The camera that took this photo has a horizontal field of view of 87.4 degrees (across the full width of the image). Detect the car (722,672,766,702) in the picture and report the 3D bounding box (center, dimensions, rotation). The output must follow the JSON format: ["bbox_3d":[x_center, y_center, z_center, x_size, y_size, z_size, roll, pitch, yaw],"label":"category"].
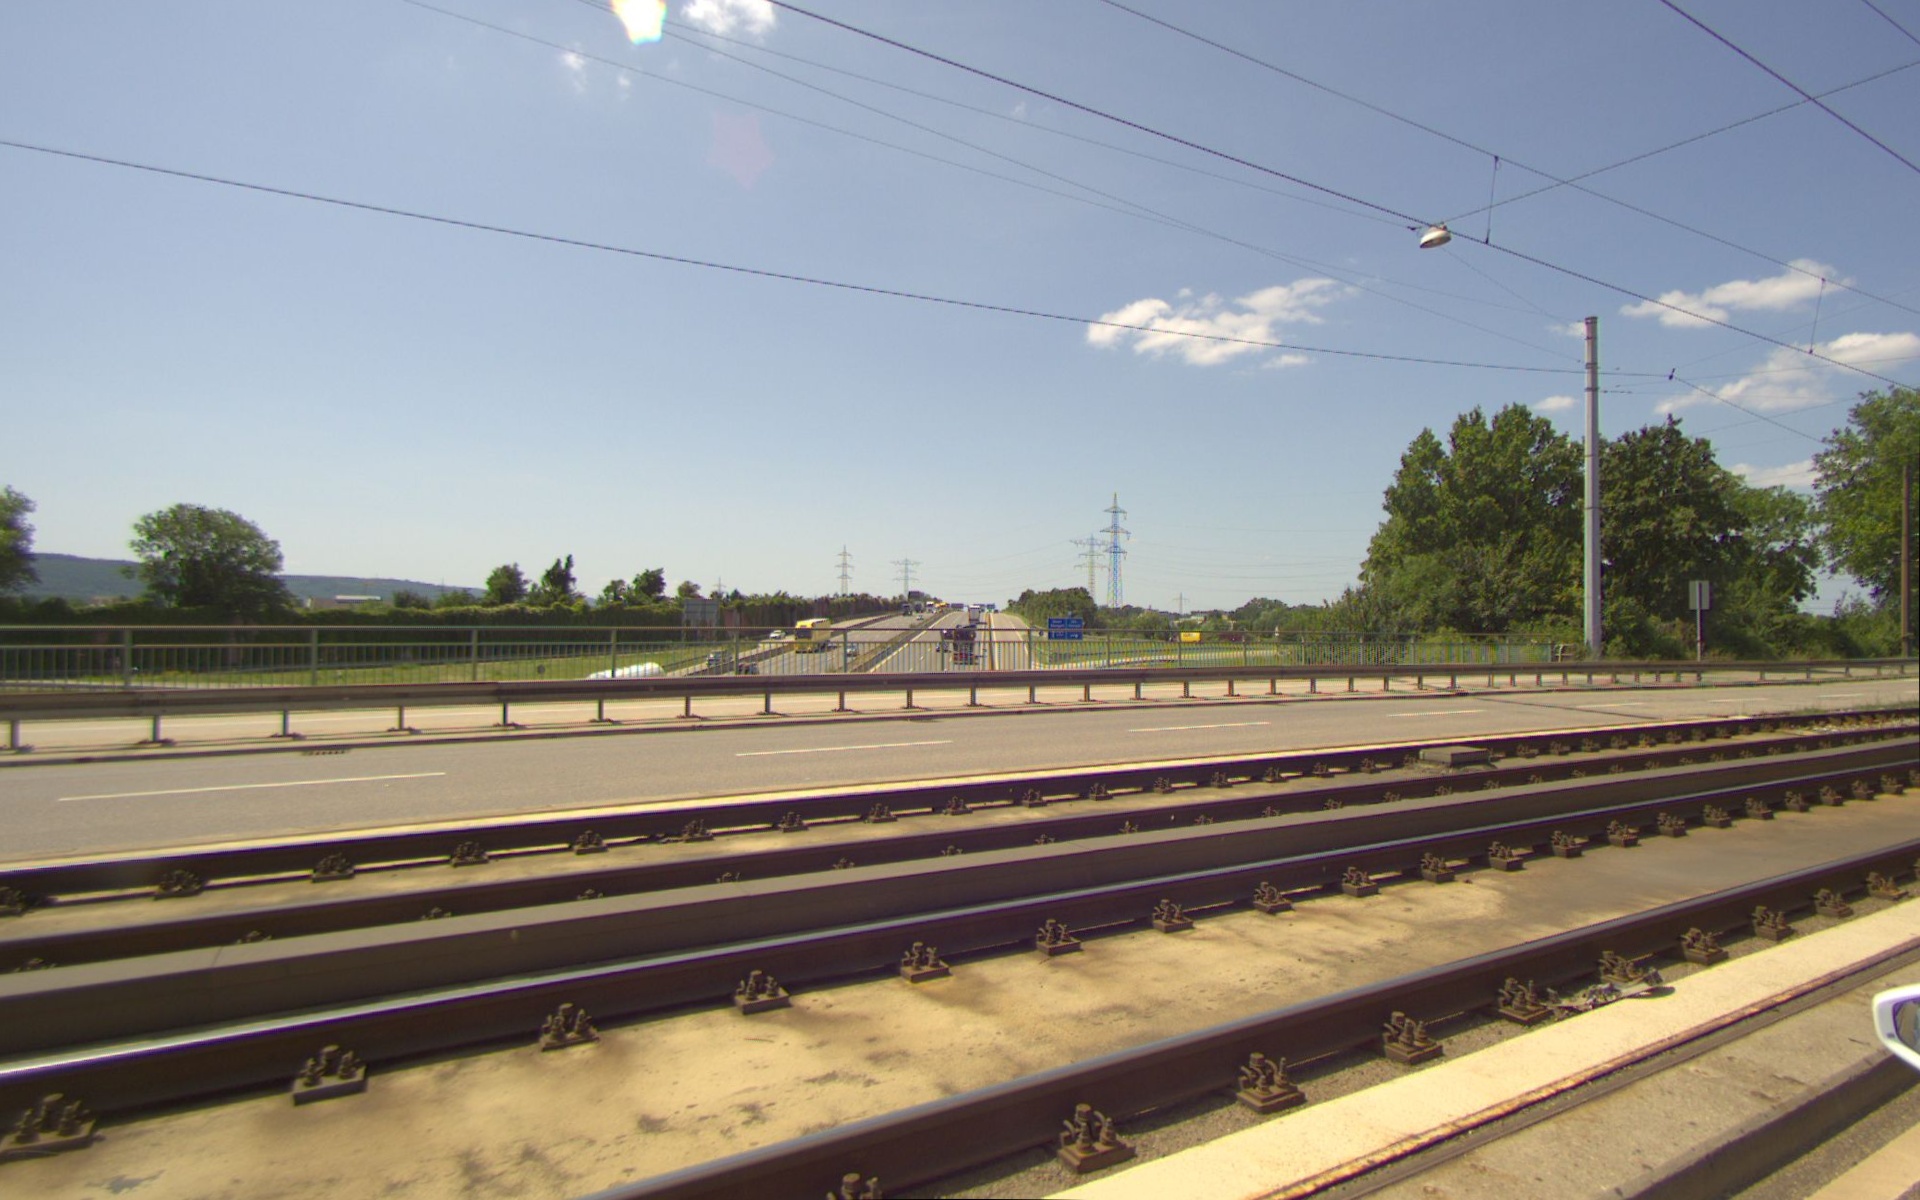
[{"bbox_3d":[-18.434,7.387,85.924,2.069,2.040,5.399,1,0,6],"label":"car"}]

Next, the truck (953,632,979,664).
[{"bbox_3d":[0.784,6.164,129.398,2.735,3.499,6.587,3,2,4],"label":"truck"}]

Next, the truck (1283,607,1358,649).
[{"bbox_3d":[56.835,4.340,158.345,10.614,5.714,3.289,3,3,28],"label":"truck"}]

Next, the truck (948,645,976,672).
[{"bbox_3d":[0.283,6.707,115.494,2.836,2.239,6.450,3,3,3],"label":"truck"}]

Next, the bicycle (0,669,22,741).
[{"bbox_3d":[-12.767,1.304,12.143,2.013,0.854,0.520,1,1,-32],"label":"bicycle"}]

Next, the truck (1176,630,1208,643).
[{"bbox_3d":[37.953,5.954,164.402,4.726,1.792,1.943,1,1,38],"label":"truck"}]

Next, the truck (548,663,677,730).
[{"bbox_3d":[-23.167,6.286,68.176,2.693,3.268,13.735,1,0,6],"label":"truck"}]

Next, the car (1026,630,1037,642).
[{"bbox_3d":[12.815,6.419,180.991,1.706,1.665,3.999,2,3,1],"label":"car"}]

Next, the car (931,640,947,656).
[{"bbox_3d":[-2.832,6.501,135.974,1.564,1.665,4.001,3,3,6],"label":"car"}]

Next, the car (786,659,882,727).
[{"bbox_3d":[-11.689,8.599,97.421,4.919,4.547,22.466,1,0,4],"label":"car"}]

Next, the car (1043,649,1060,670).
[{"bbox_3d":[10.982,7.122,120.461,1.960,2.041,4.001,3,2,5],"label":"car"}]

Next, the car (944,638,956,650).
[{"bbox_3d":[-1.734,7.444,170.385,1.705,1.665,4.000,3,4,3],"label":"car"}]

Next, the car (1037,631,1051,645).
[{"bbox_3d":[12.659,5.644,151.493,1.705,1.665,4.001,3,3,9],"label":"car"}]

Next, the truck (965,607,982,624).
[{"bbox_3d":[3.262,3.715,244.533,3.593,3.756,8.196,1,2,-2],"label":"truck"}]

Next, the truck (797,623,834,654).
[{"bbox_3d":[-20.368,5.331,142.617,2.588,3.811,16.555,1,0,1],"label":"truck"}]
